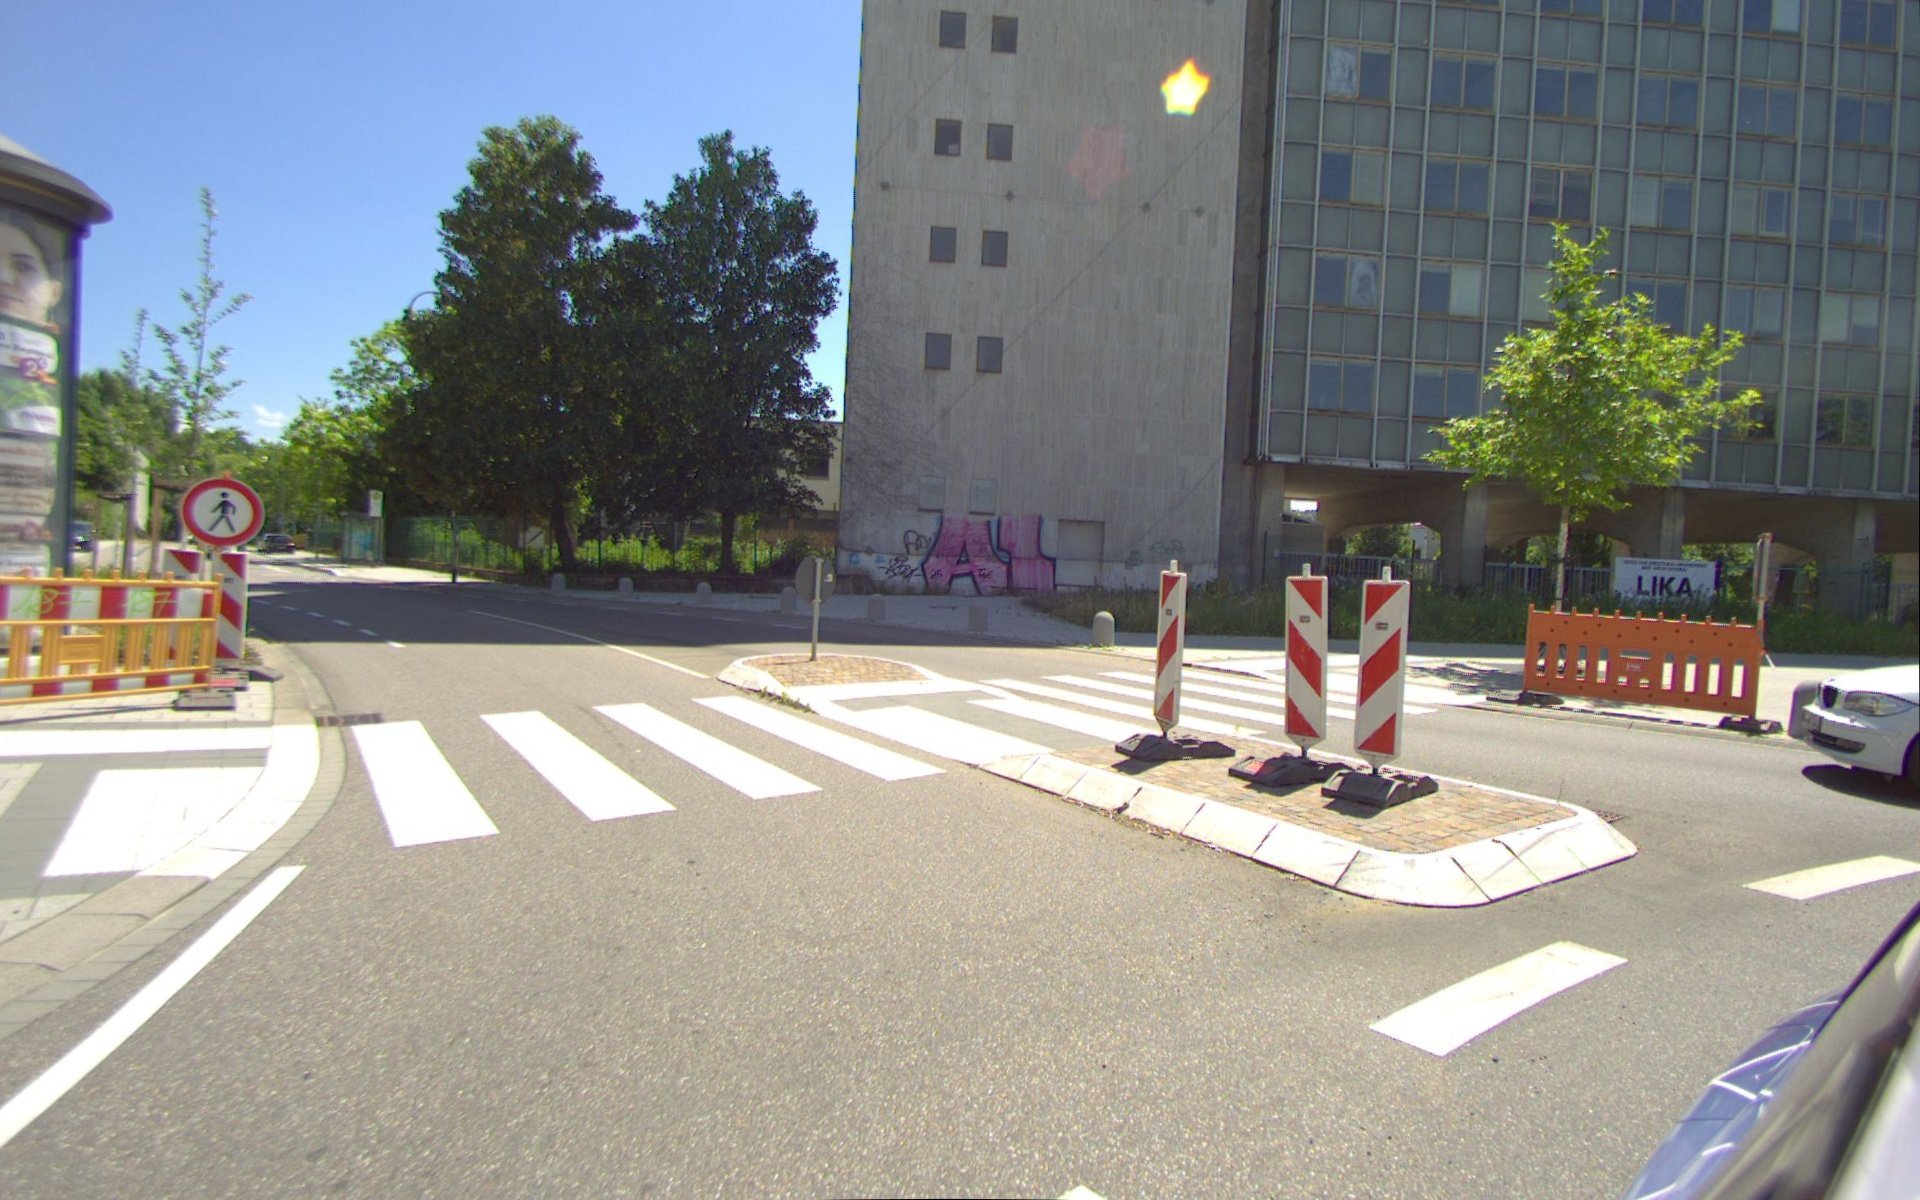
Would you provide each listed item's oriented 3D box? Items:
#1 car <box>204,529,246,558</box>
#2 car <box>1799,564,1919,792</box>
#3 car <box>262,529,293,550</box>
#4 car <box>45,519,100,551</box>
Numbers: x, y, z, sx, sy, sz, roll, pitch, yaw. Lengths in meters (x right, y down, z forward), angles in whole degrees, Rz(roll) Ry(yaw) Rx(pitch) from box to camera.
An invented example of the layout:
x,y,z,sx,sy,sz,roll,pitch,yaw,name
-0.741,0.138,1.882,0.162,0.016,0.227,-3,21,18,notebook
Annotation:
x,y,z,sx,sy,sz,roll,pitch,yaw,name
-40.449,-3.124,55.773,1.710,1.453,3.714,0,4,-33,car
8.652,0.637,6.951,4.094,1.569,1.769,4,4,30,car
-50.812,-4.496,75.310,1.712,1.453,3.711,0,4,-37,car
-43.630,-3.199,49.827,1.712,1.453,3.712,0,4,-36,car
